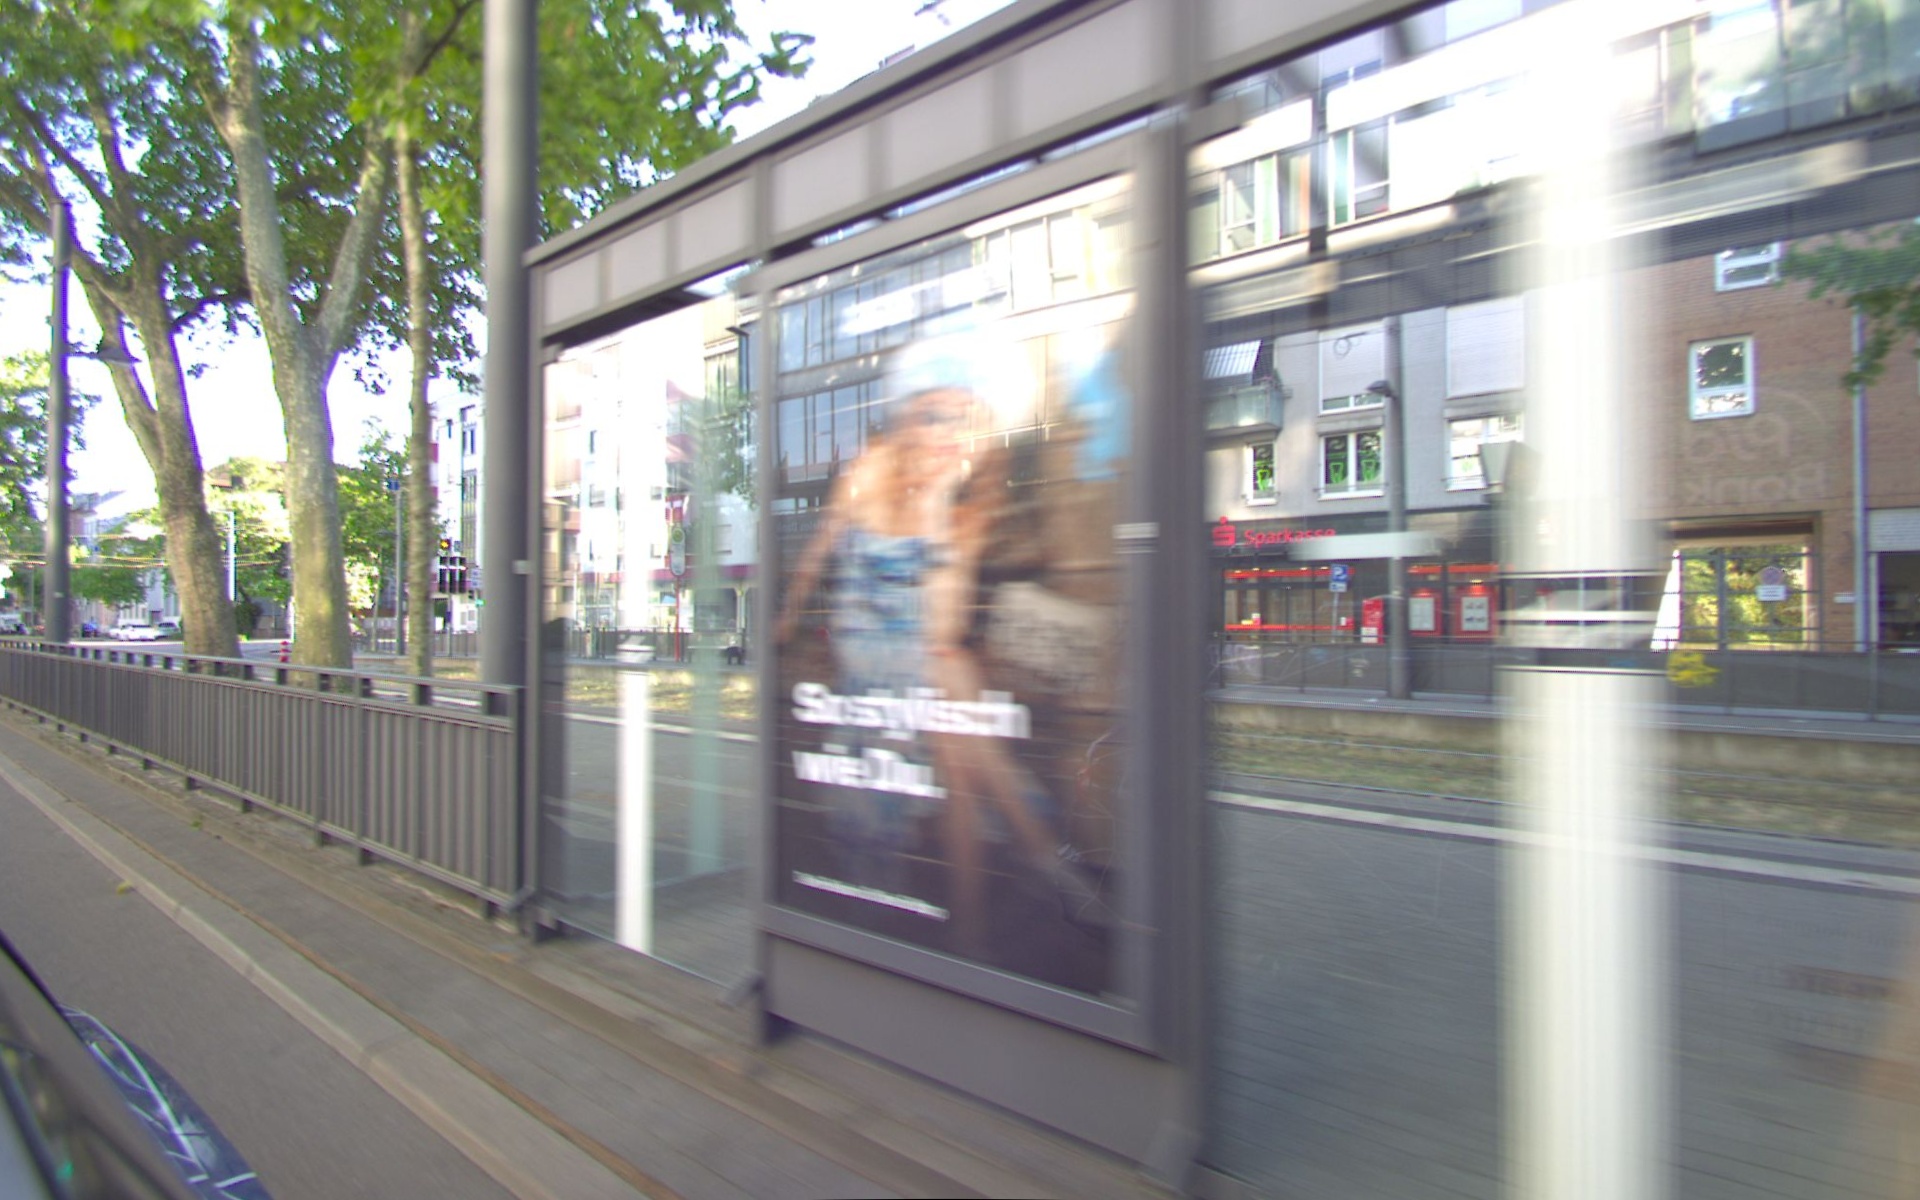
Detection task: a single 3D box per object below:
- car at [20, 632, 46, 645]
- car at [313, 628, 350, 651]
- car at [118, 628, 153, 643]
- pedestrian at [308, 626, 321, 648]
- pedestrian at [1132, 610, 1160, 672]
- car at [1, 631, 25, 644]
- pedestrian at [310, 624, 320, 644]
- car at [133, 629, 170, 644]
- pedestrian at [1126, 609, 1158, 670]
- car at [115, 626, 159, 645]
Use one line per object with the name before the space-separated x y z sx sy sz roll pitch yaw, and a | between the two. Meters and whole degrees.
car | -116.368 4.821 127.014 3.997 1.573 1.871 -1 -2 41
car | -39.070 2.440 63.019 1.622 1.364 3.913 1 -1 -27
car | -77.236 3.310 94.769 3.997 1.276 1.871 -1 -2 41
pedestrian | -50.522 2.913 79.198 0.594 1.717 0.670 -1 0 -11
pedestrian | 5.463 1.184 29.764 0.628 1.784 0.497 -1 0 40
car | -125.375 4.936 134.025 3.997 1.573 1.871 -1 -2 41
pedestrian | -50.471 2.644 79.213 0.581 1.518 0.650 1 -2 -26
car | -71.195 3.223 89.109 3.997 1.276 1.871 -1 -2 41
pedestrian | 5.484 1.181 30.519 0.784 1.784 0.497 -1 0 41
car | -63.510 2.713 78.063 3.997 1.475 1.973 -1 -2 40
